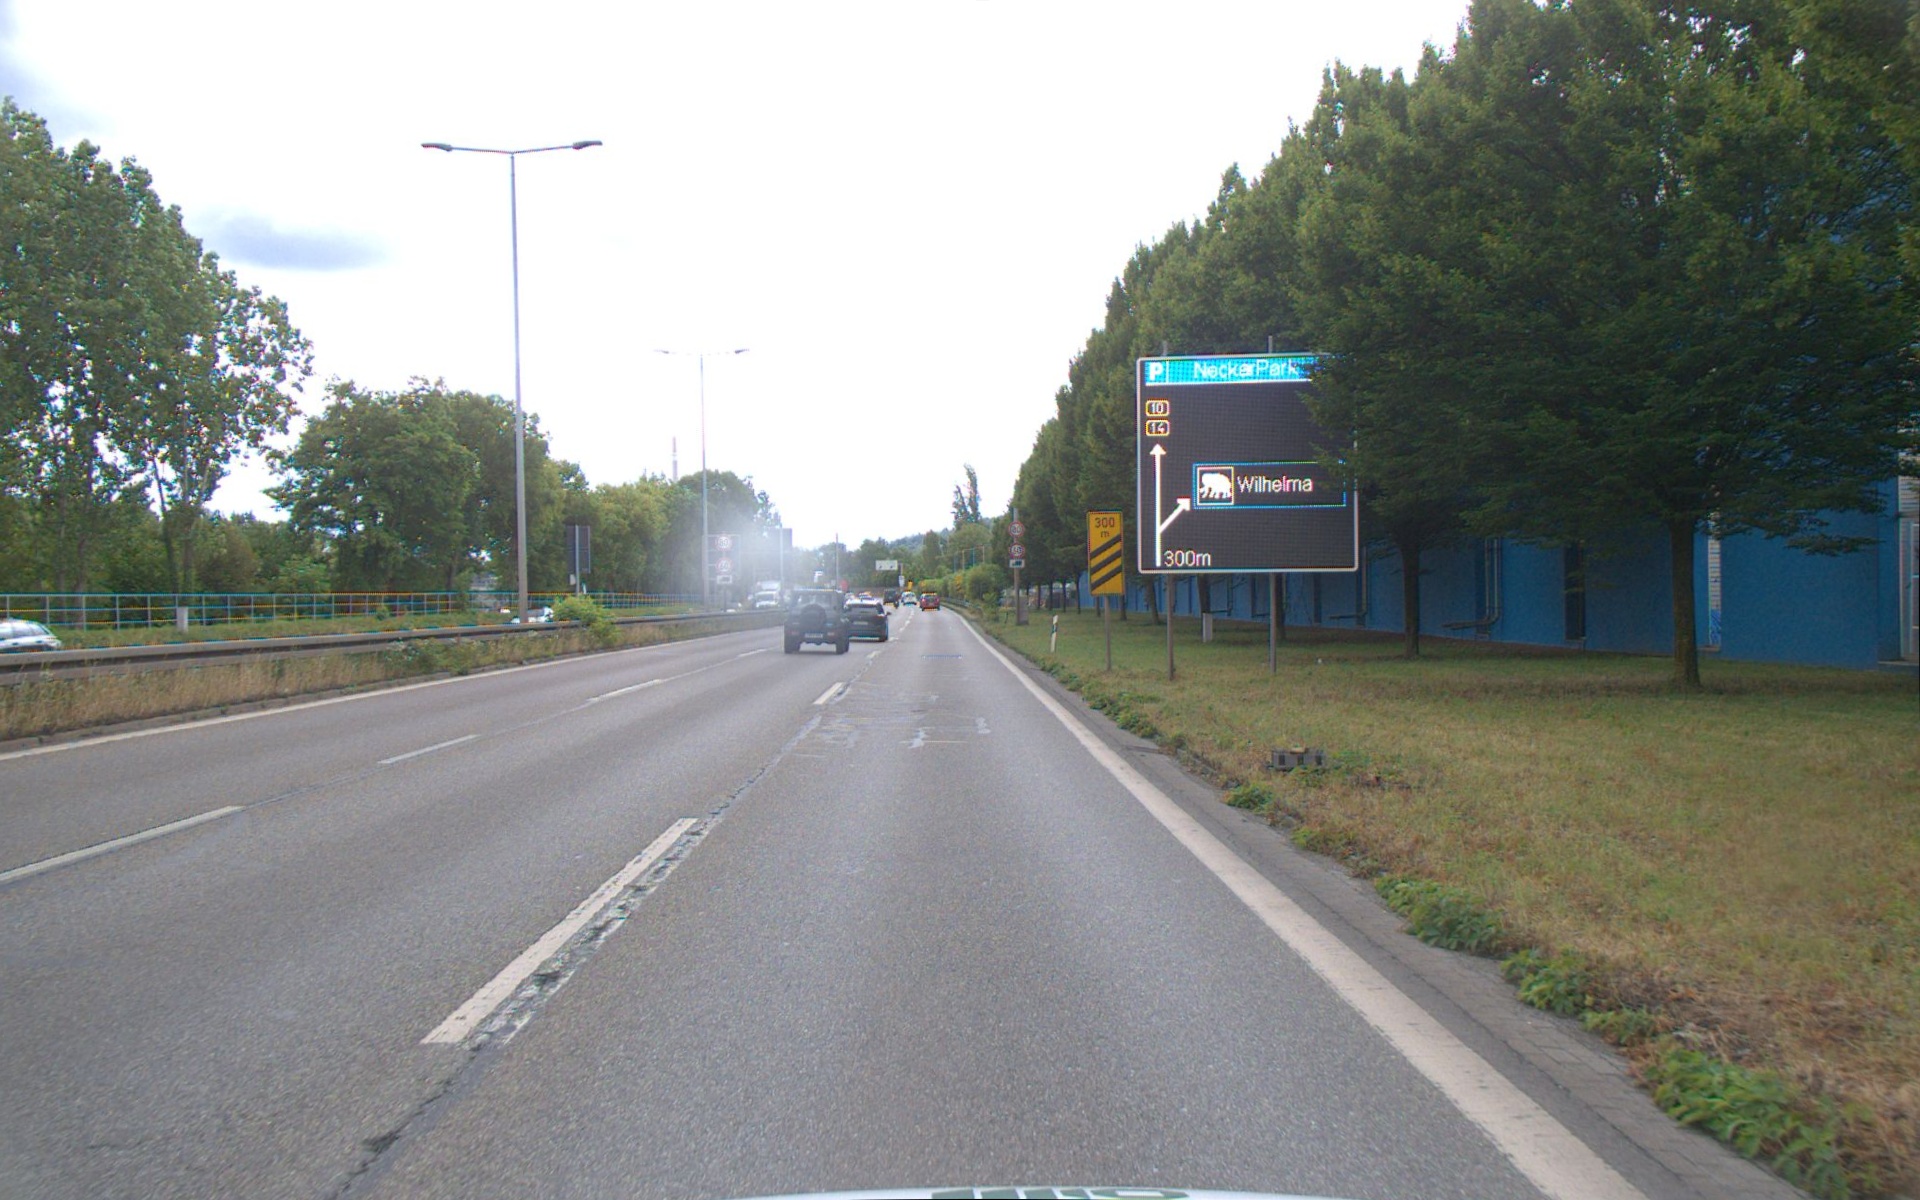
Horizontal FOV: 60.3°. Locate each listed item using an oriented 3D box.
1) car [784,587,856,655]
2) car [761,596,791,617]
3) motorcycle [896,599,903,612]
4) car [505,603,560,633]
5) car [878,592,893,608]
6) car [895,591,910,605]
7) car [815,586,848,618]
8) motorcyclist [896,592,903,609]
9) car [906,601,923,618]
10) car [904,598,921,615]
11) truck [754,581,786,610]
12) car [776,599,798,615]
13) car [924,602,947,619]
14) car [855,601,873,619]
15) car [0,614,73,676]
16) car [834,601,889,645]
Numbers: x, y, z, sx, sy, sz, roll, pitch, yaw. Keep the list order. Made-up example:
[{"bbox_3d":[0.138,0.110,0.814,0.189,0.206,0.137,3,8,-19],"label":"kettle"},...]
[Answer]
[{"bbox_3d":[-3.800,0.541,45.371,1.663,1.715,3.999,2,0,-1],"label":"car"},{"bbox_3d":[-17.965,0.622,162.103,2.180,1.982,5.474,-1,0,1],"label":"car"},{"bbox_3d":[-6.318,0.577,172.846,0.775,1.240,2.329,0,0,-1],"label":"motorcycle"},{"bbox_3d":[-22.537,0.928,87.285,1.840,1.516,4.201,0,0,-1],"label":"car"},{"bbox_3d":[-10.015,0.012,222.342,1.973,1.968,4.898,-2,0,-2],"label":"car"},{"bbox_3d":[-8.557,-0.244,245.513,1.972,1.968,4.900,-2,0,0],"label":"car"},{"bbox_3d":[-7.379,0.100,95.511,1.663,1.772,3.999,2,0,-2],"label":"car"},{"bbox_3d":[-6.320,0.075,172.833,0.775,1.791,0.923,0,0,-1],"label":"motorcyclist"},{"bbox_3d":[-4.781,0.980,174.839,1.663,1.772,4.393,-1,0,0],"label":"car"},{"bbox_3d":[-5.941,0.787,207.119,1.973,1.968,4.898,-2,0,-2],"label":"car"},{"bbox_3d":[-25.023,-0.607,218.369,2.829,3.641,9.588,-1,0,1],"label":"truck"},{"bbox_3d":[-19.469,0.761,186.270,1.840,1.755,4.147,0,0,1],"label":"car"},{"bbox_3d":[-2.287,0.975,152.903,1.935,1.448,4.898,-2,0,-2],"label":"car"},{"bbox_3d":[-10.239,1.036,176.777,1.663,1.772,4.393,-2,0,0],"label":"car"},{"bbox_3d":[-22.197,1.031,37.592,1.626,1.322,4.786,0,0,-2],"label":"car"},{"bbox_3d":[-3.498,0.786,59.456,1.808,1.448,4.898,-2,0,-2],"label":"car"}]
